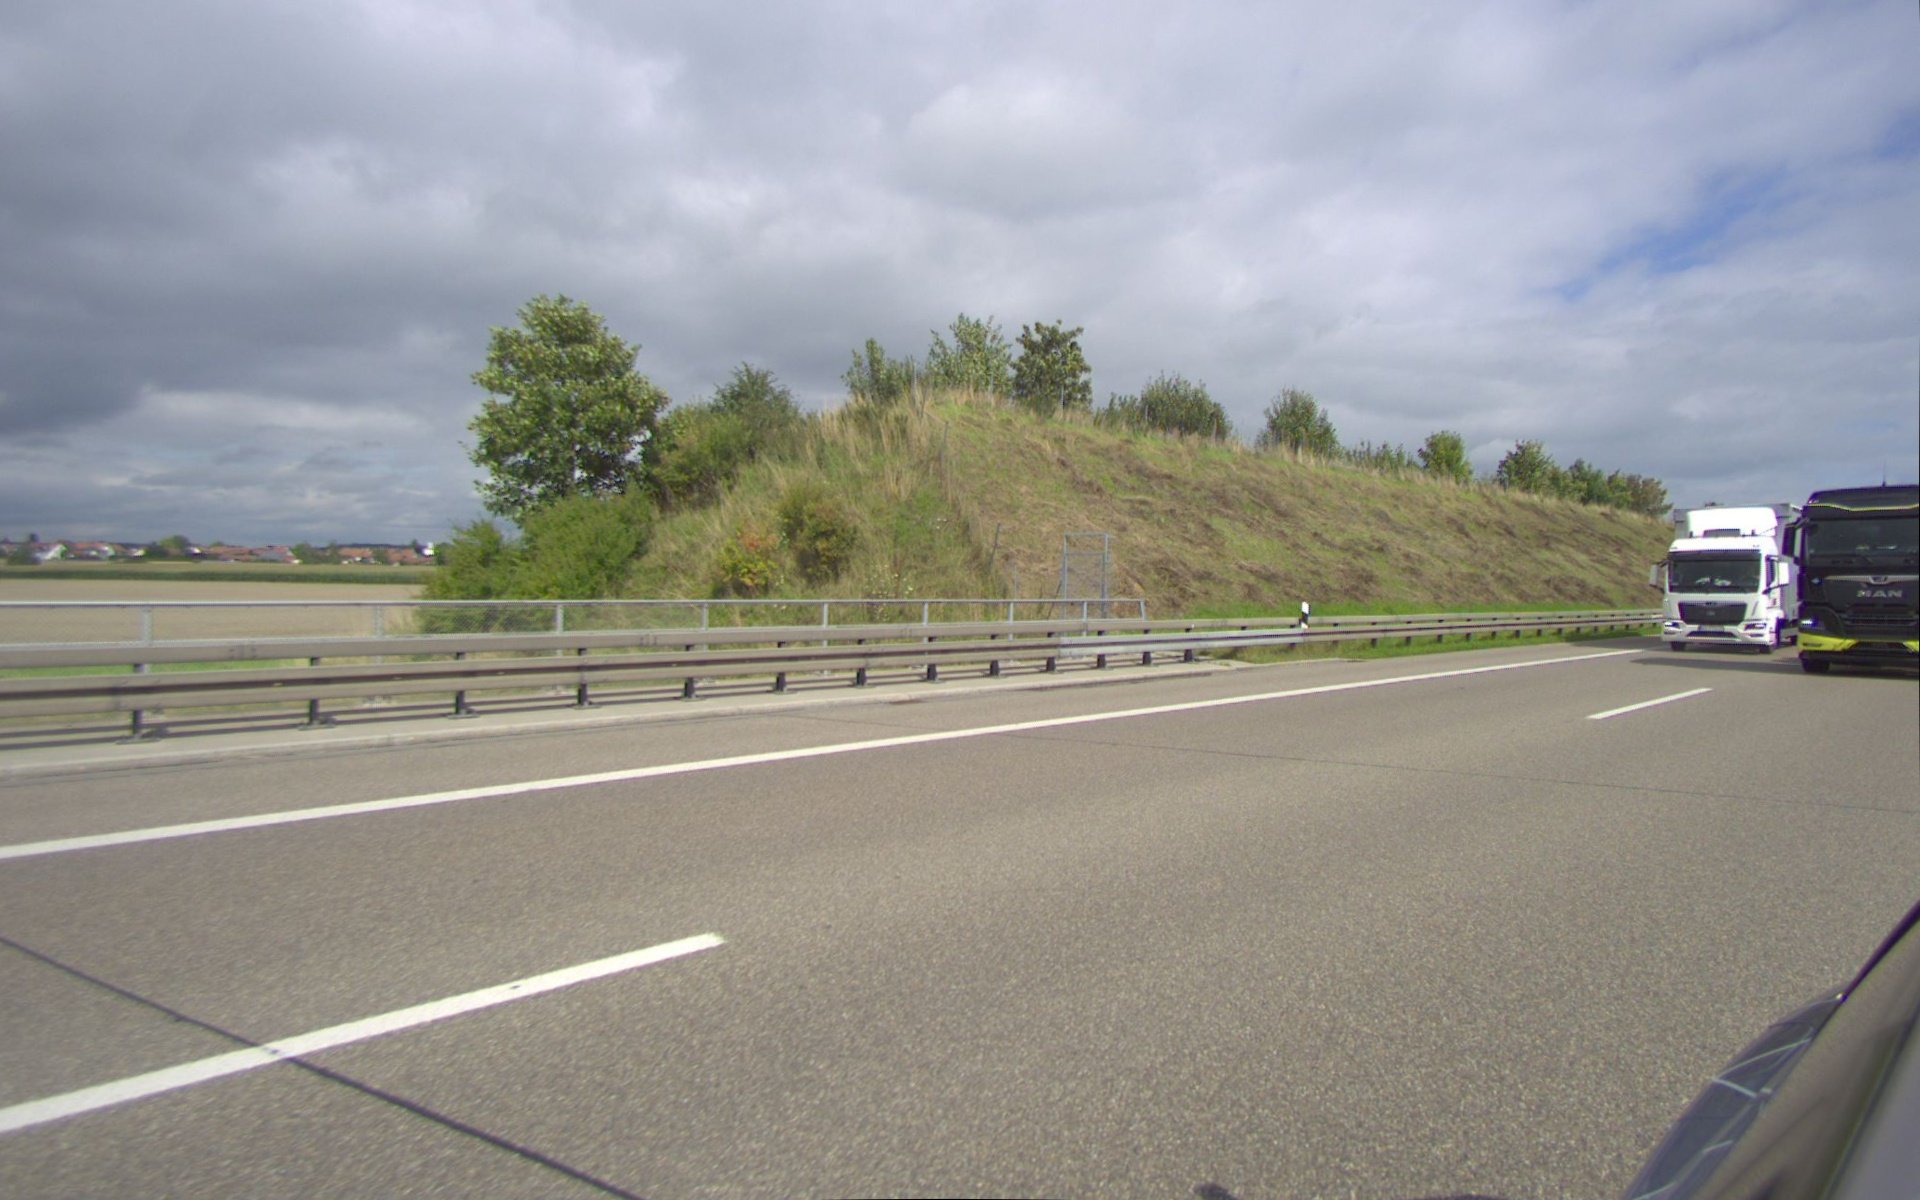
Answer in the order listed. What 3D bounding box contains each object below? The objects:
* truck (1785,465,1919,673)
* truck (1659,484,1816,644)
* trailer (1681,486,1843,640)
[{"bbox_3d":[19.256,-0.588,20.588,8.181,3.594,2.850,-1,1,-44],"label":"truck"},{"bbox_3d":[21.175,-0.913,27.507,4.470,3.941,2.751,-1,0,-44],"label":"truck"},{"bbox_3d":[24.509,-1.039,30.718,8.527,4.062,2.750,-1,1,-44],"label":"trailer"}]
